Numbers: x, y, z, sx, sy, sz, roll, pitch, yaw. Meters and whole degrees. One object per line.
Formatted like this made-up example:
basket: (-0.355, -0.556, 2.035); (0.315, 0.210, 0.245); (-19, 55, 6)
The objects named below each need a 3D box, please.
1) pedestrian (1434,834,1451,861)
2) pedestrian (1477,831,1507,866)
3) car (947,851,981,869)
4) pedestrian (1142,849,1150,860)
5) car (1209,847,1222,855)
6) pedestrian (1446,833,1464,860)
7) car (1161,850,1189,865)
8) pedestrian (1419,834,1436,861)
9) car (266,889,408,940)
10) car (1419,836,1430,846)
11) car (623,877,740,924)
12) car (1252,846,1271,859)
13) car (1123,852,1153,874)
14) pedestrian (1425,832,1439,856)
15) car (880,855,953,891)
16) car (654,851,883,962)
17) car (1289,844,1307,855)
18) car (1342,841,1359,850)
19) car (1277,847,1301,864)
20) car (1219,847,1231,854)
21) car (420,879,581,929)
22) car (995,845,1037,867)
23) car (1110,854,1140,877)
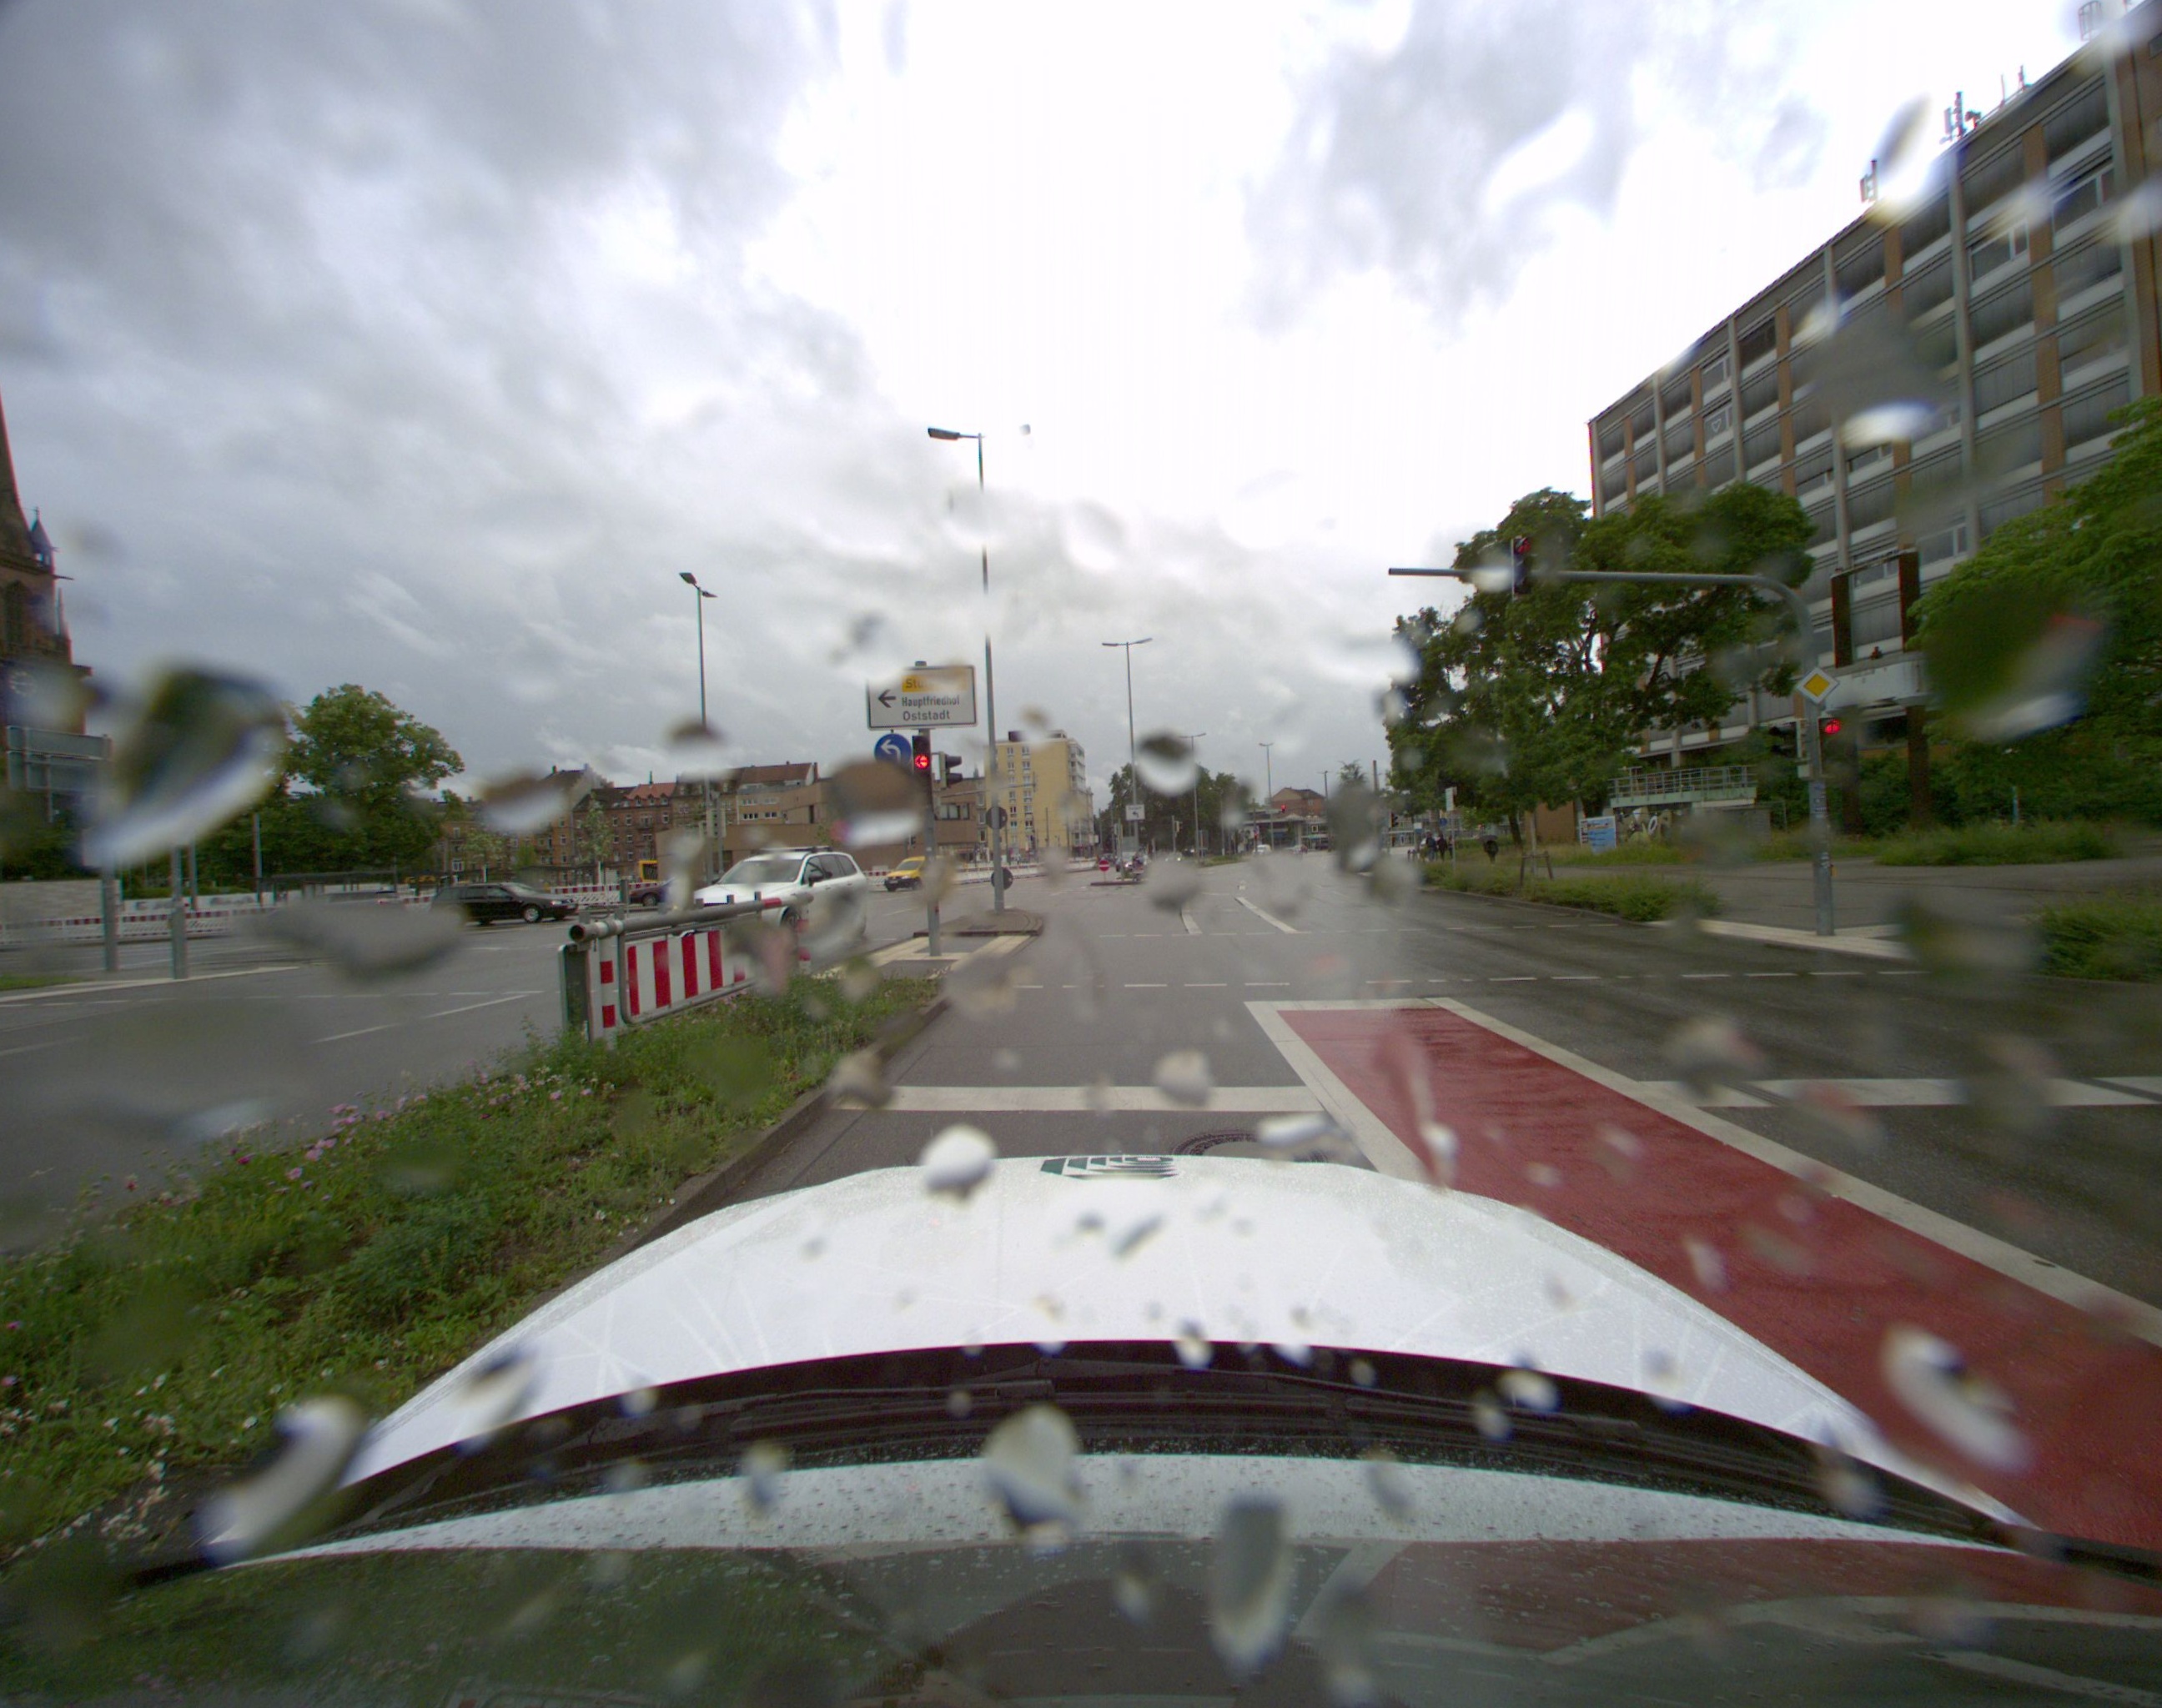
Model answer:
pedestrian: (21.756, -0.416, 49.059); (0.698, 1.588, 0.939); (-3, 0, 12)
pedestrian: (19.657, -0.264, 38.986); (1.015, 1.588, 0.939); (-3, 0, 12)
car: (-20.626, 1.097, 143.405); (5.326, 2.887, 2.342); (-3, 0, 4)
pedestrian: (11.494, 0.121, 143.962); (1.089, 1.813, 1.118); (-3, 0, -2)
car: (31.551, -0.709, 190.749); (1.773, 1.643, 4.184); (-3, 0, 26)
pedestrian: (22.497, -0.456, 49.016); (0.698, 1.588, 0.939); (-3, 0, 12)
car: (9.558, 0.325, 82.619); (1.757, 1.376, 4.142); (-2, 0, 22)
pedestrian: (21.024, -0.378, 49.419); (0.749, 1.588, 0.939); (-3, 0, 12)
car: (-29.249, 2.354, 32.112); (3.803, 1.706, 1.707); (-3, 0, -6)
car: (62.109, -2.373, 147.220); (1.774, 1.643, 4.183); (-3, 0, 24)
car: (-17.517, 2.014, 35.846); (4.471, 1.706, 1.696); (-3, 0, -28)
car: (28.556, -0.293, 128.742); (1.773, 1.858, 4.186); (-3, 0, 30)
car: (4.602, 0.699, 65.546); (1.682, 1.415, 4.199); (-3, 1, 13)
pedestrian: (24.148, -0.678, 55.985); (0.698, 1.588, 0.940); (-3, 0, 15)
car: (-8.752, 0.970, 43.668); (1.690, 1.706, 4.175); (-3, 0, 22)
car: (-5.567, 0.822, 15.419); (1.817, 1.682, 5.175); (-2, 0, 6)
car: (35.640, -0.713, 133.896); (1.773, 1.643, 4.072); (-3, 0, 30)
car: (52.757, -1.638, 159.492); (1.772, 1.643, 4.186); (-3, 0, 39)
car: (22.247, 0.170, 86.916); (1.774, 1.643, 4.183); (-3, 0, 24)
car: (33.578, -0.809, 189.867); (1.773, 1.643, 4.184); (-3, 0, 26)
car: (-19.871, 1.704, 27.999); (4.184, 1.402, 1.615); (-3, 0, -5)
car: (-11.338, 0.332, 142.522); (6.710, 3.380, 2.813); (-3, 0, 4)
car: (4.028, 1.016, 73.495); (1.681, 1.690, 4.203); (-3, 2, 17)
